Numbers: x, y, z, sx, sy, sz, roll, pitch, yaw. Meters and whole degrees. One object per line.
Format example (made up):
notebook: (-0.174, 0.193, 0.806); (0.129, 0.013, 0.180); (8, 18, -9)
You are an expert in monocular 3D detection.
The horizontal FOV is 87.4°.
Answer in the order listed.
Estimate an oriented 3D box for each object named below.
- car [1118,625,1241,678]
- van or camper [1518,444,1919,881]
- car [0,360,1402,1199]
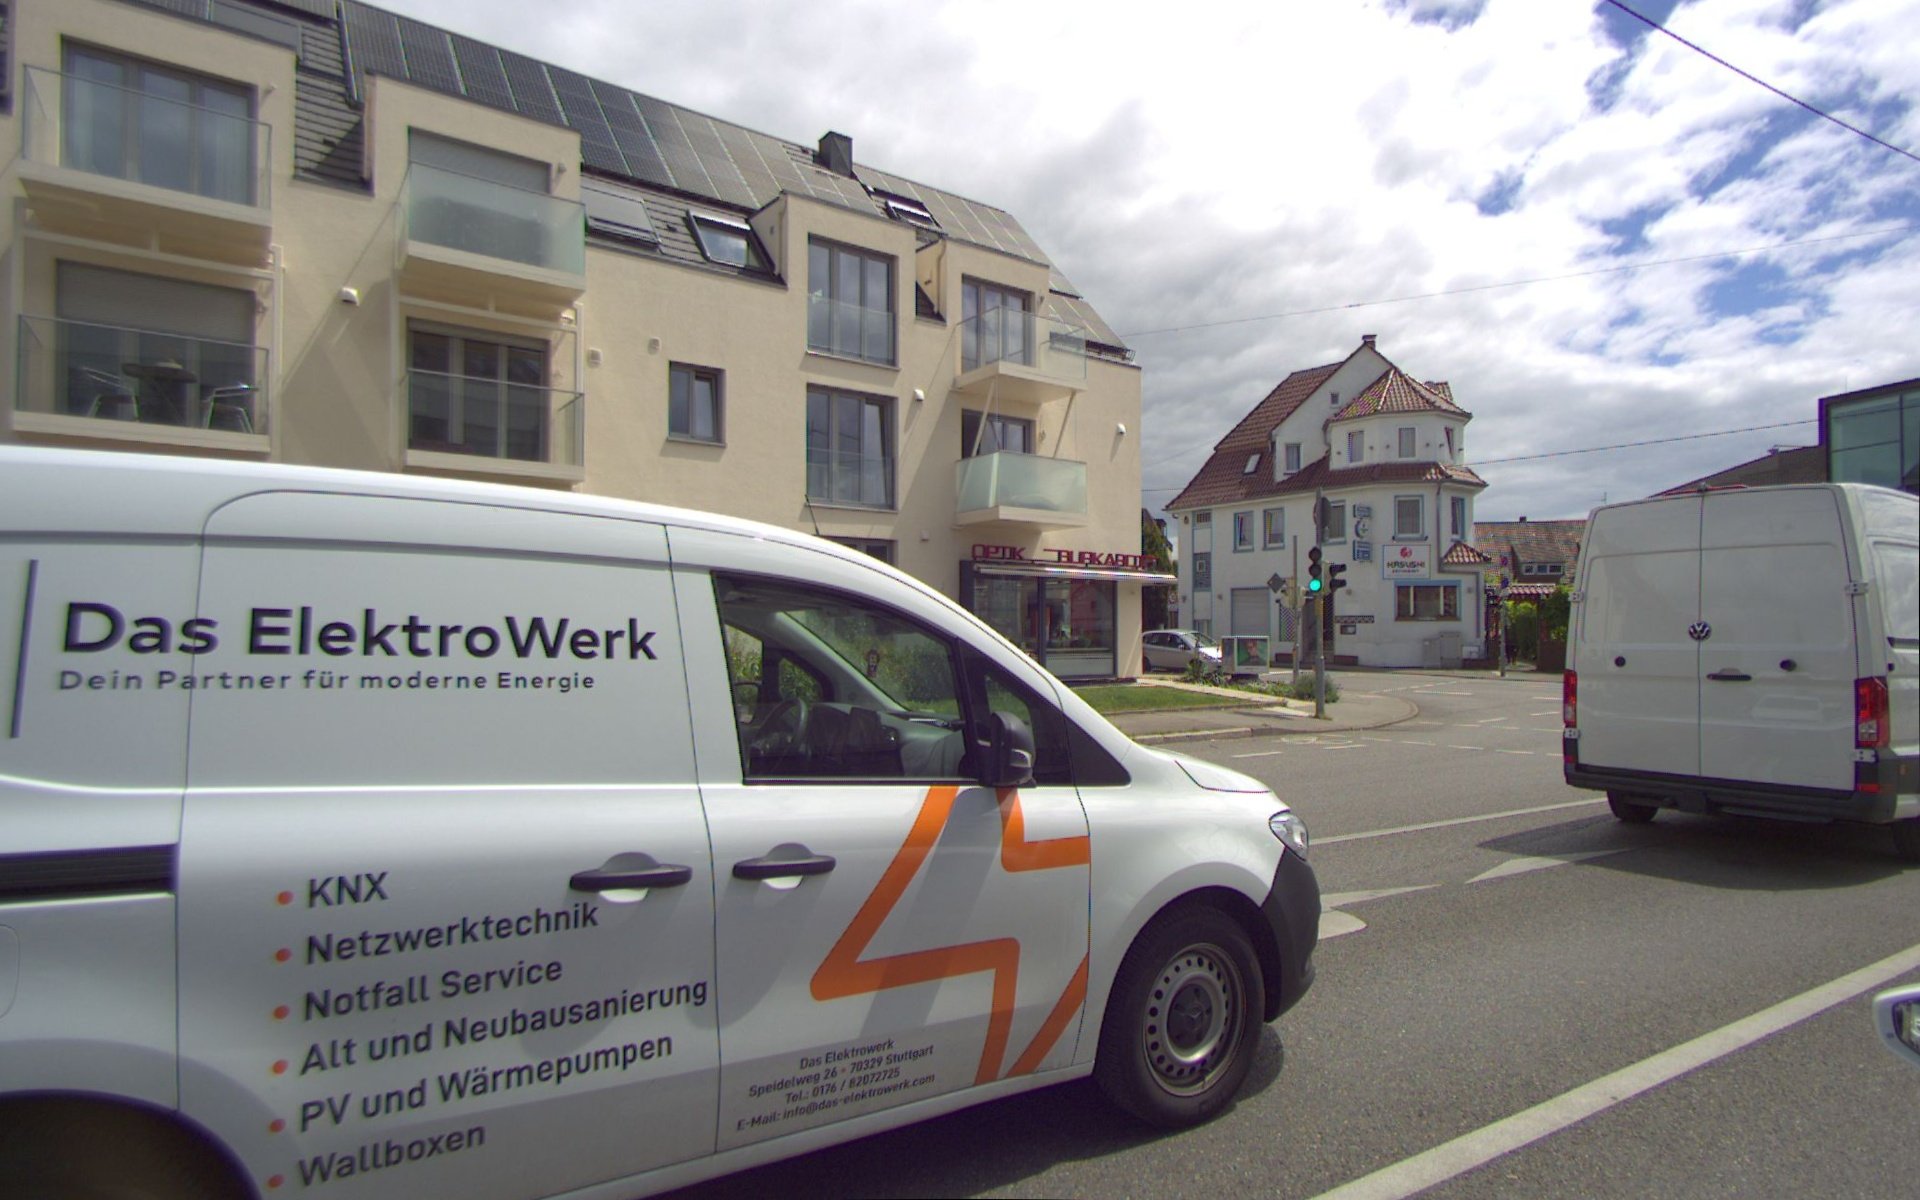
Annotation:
car: (7.737, 1.780, 35.668); (1.981, 1.706, 3.959); (2, -1, -36)
van or camper: (7.211, 0.473, 8.501); (5.588, 2.620, 2.094); (2, -3, -35)
car: (-0.818, 0.594, 3.004); (4.370, 1.836, 1.806); (2, -1, -32)
